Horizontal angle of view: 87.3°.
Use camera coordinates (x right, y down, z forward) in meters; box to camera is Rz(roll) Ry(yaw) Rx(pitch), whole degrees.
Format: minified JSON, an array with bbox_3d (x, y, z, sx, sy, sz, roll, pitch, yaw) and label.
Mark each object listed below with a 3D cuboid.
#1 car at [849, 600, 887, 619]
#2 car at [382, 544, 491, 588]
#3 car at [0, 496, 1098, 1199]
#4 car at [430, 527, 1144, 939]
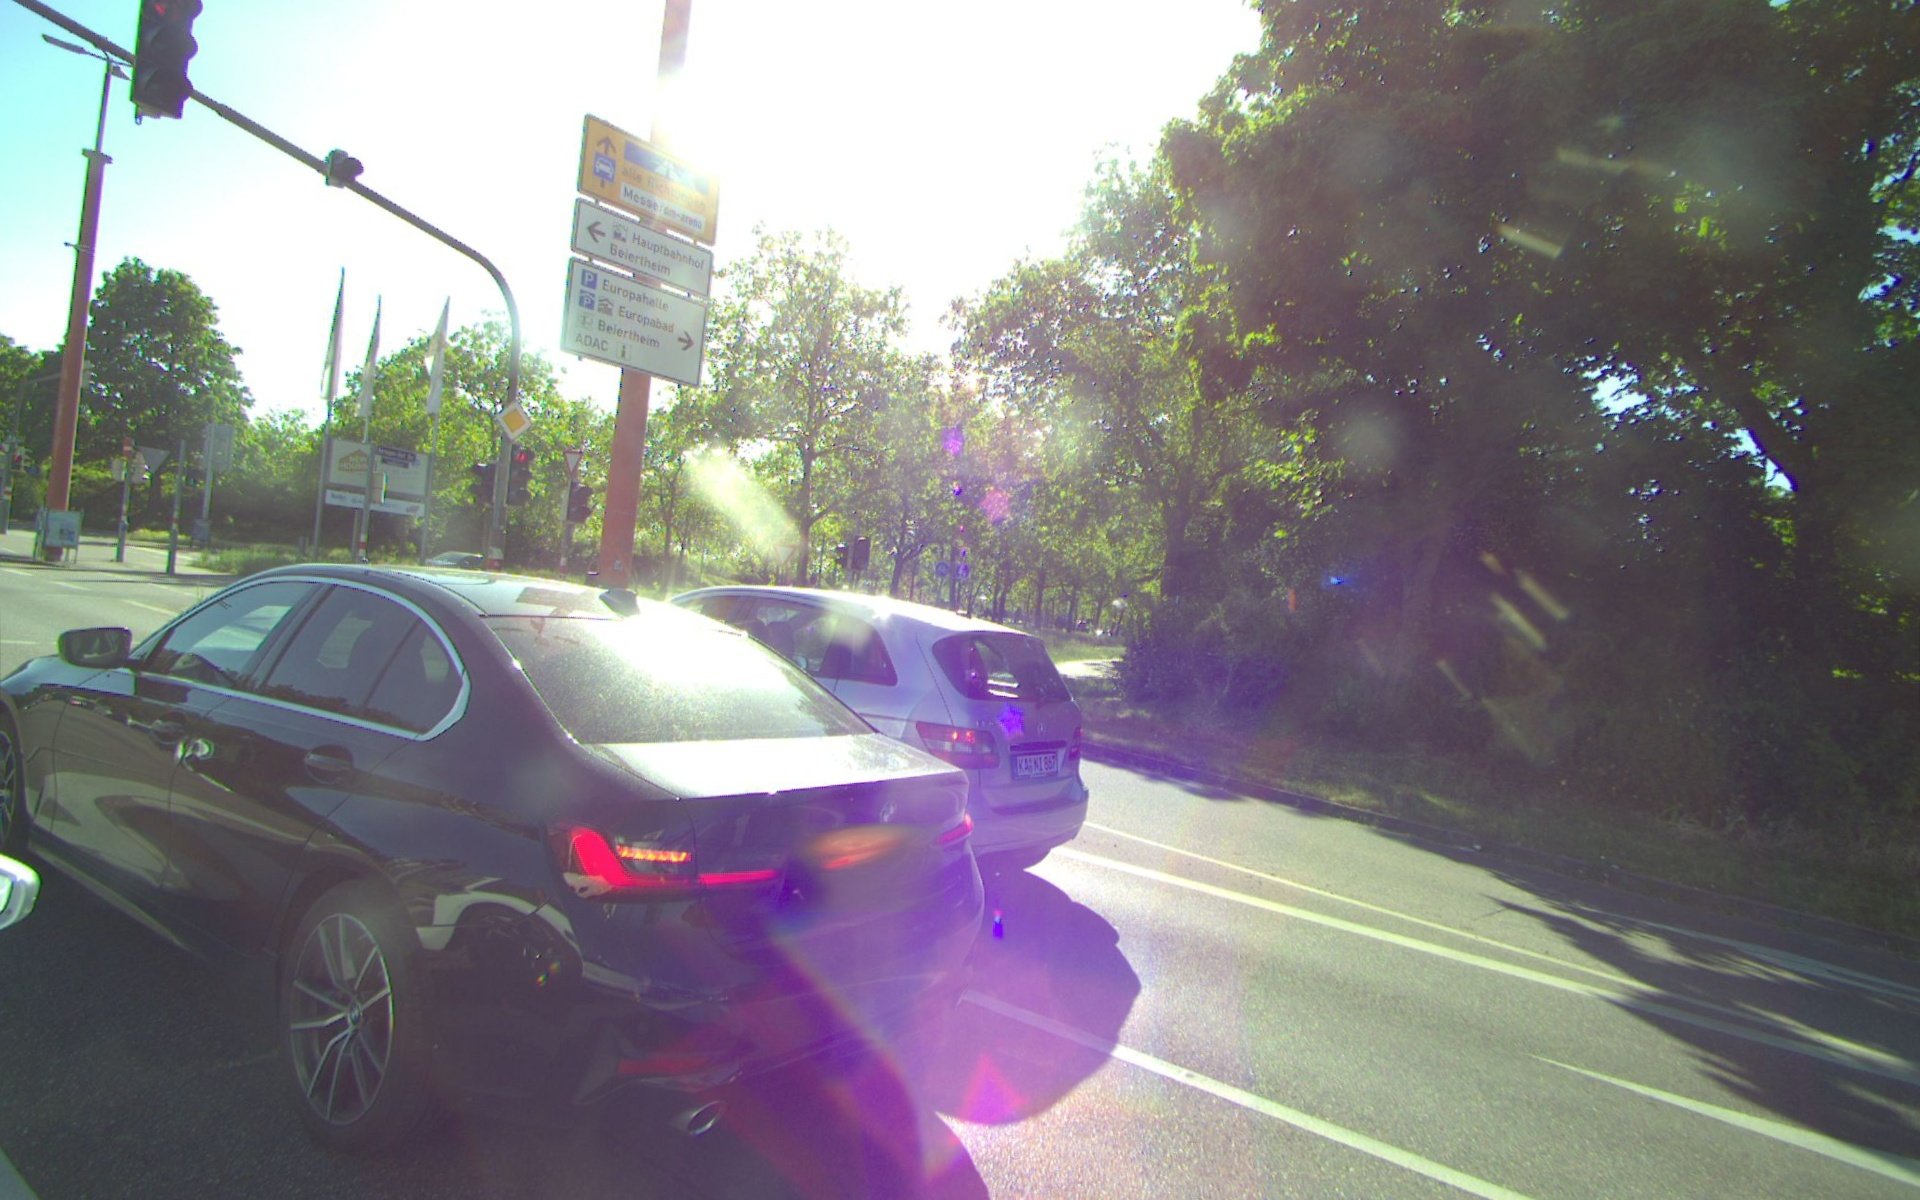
[{"bbox_3d":[-10.364,1.053,113.387,2.150,1.592,4.233,7,-1,-40],"label":"car"},{"bbox_3d":[-23.496,-1.501,45.331,1.848,1.445,4.283,7,-1,14],"label":"car"},{"bbox_3d":[-1.960,0.529,3.882,4.403,1.411,1.996,7,0,32],"label":"car"},{"bbox_3d":[-1.282,0.641,6.790,4.403,1.706,1.970,7,-1,32],"label":"car"}]
